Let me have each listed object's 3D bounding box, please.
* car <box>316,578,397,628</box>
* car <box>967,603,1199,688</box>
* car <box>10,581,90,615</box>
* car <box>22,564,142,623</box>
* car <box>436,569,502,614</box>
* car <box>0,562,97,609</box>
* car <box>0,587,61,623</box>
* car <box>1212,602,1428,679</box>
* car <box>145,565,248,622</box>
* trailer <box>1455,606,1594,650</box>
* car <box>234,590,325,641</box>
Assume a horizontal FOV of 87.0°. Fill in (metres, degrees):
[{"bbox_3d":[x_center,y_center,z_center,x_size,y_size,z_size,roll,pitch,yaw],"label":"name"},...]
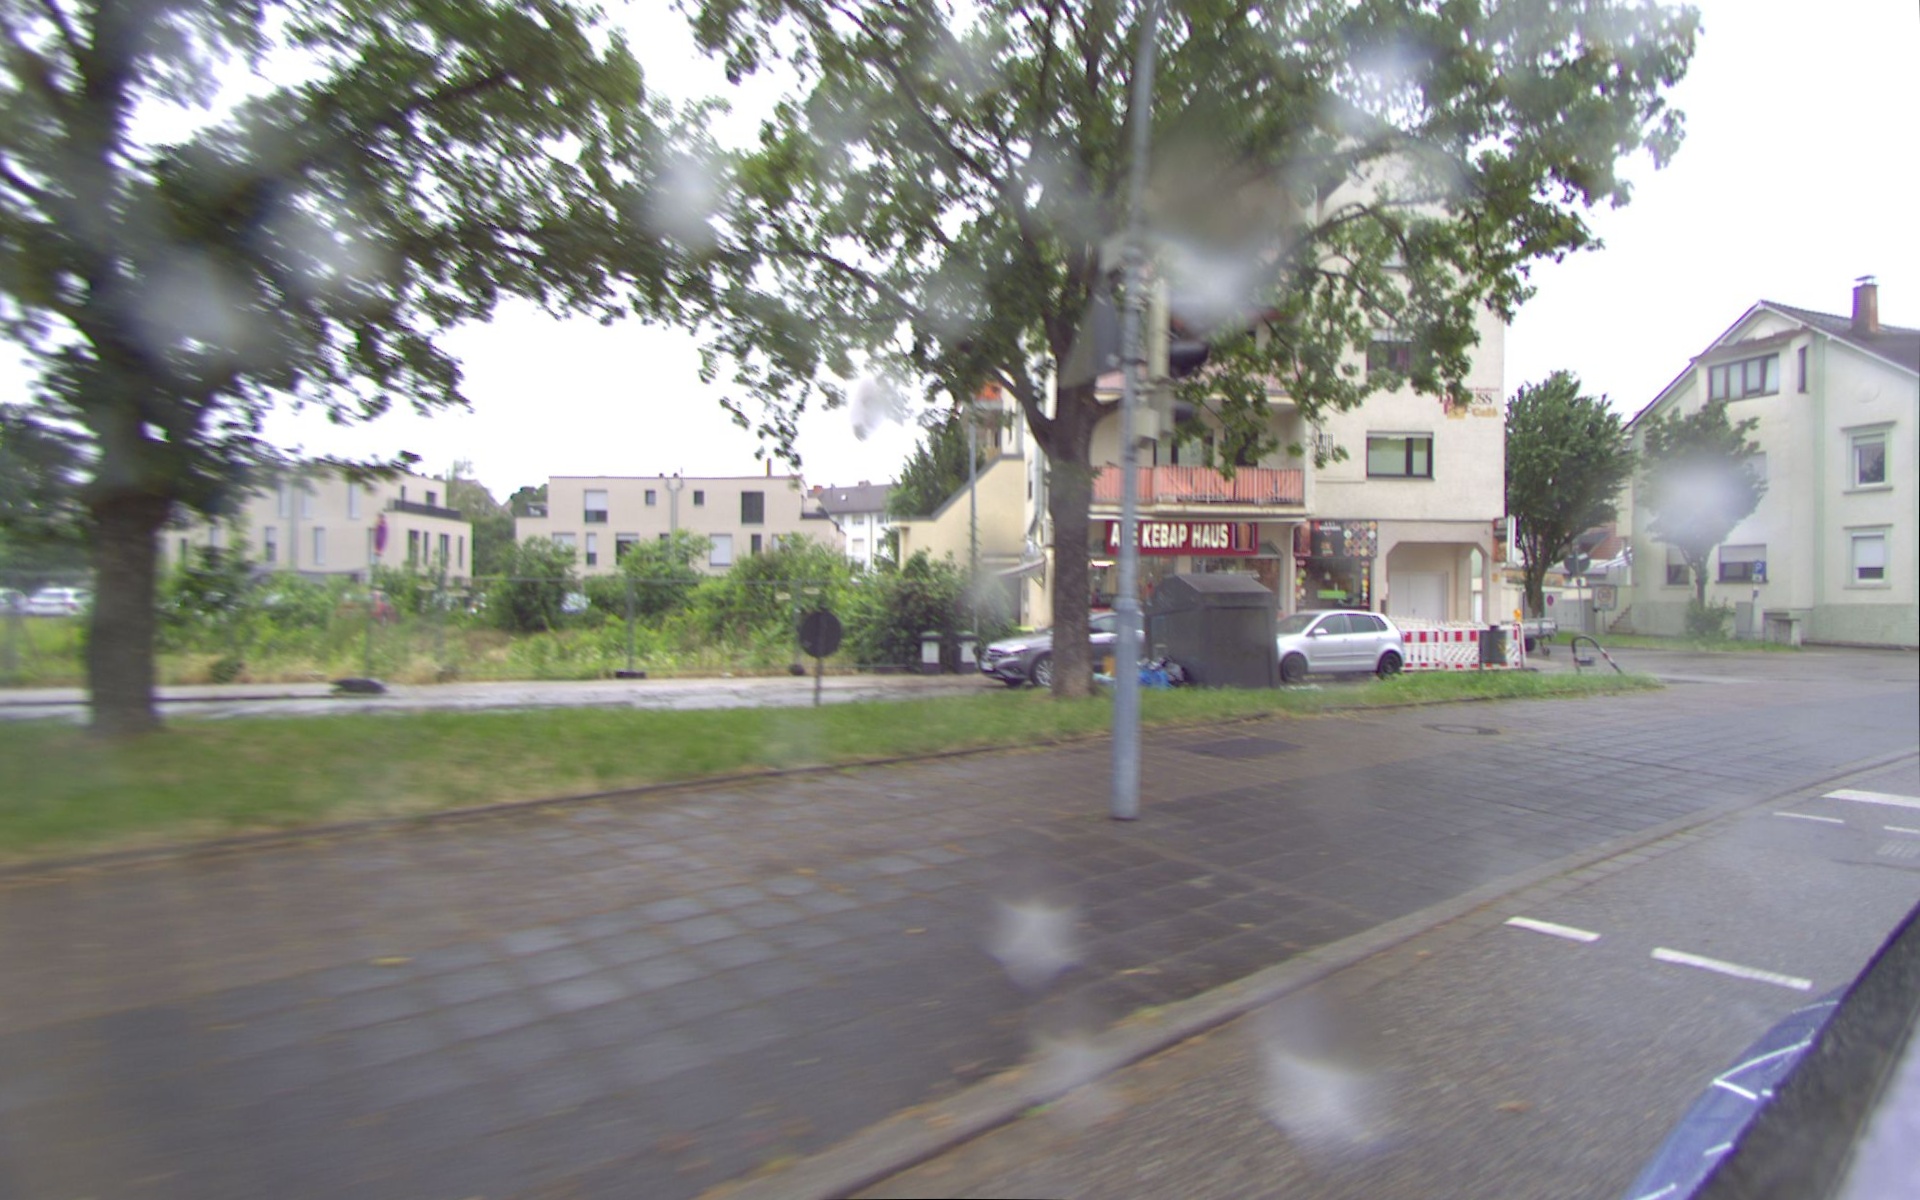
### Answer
[{"bbox_3d":[-23.852,0.109,40.152,1.958,1.883,4.008,0,0,-19],"label":"car"},{"bbox_3d":[2.352,0.807,19.453,4.069,1.452,1.707,-1,0,-20],"label":"car"},{"bbox_3d":[-53.871,-0.135,59.978,1.637,1.938,4.006,0,0,-10],"label":"car"},{"bbox_3d":[-32.113,-0.228,37.159,1.958,2.039,4.008,0,0,-19],"label":"car"},{"bbox_3d":[-19.591,-0.331,40.536,1.869,1.705,4.008,0,0,-19],"label":"car"},{"bbox_3d":[-41.273,-0.652,45.950,1.958,2.039,4.008,0,0,-21],"label":"car"},{"bbox_3d":[-35.983,0.191,38.092,1.636,1.282,4.008,0,0,-16],"label":"car"},{"bbox_3d":[7.429,0.781,20.914,4.089,1.452,1.643,-1,0,-20],"label":"car"},{"bbox_3d":[-28.937,-0.253,38.500,1.958,2.039,4.008,0,0,-19],"label":"car"},{"bbox_3d":[17.802,0.833,32.192,1.789,1.247,4.534,-1,0,-1],"label":"trailer"},{"bbox_3d":[-26.338,0.569,39.295,1.958,1.883,4.008,0,0,-19],"label":"car"}]
